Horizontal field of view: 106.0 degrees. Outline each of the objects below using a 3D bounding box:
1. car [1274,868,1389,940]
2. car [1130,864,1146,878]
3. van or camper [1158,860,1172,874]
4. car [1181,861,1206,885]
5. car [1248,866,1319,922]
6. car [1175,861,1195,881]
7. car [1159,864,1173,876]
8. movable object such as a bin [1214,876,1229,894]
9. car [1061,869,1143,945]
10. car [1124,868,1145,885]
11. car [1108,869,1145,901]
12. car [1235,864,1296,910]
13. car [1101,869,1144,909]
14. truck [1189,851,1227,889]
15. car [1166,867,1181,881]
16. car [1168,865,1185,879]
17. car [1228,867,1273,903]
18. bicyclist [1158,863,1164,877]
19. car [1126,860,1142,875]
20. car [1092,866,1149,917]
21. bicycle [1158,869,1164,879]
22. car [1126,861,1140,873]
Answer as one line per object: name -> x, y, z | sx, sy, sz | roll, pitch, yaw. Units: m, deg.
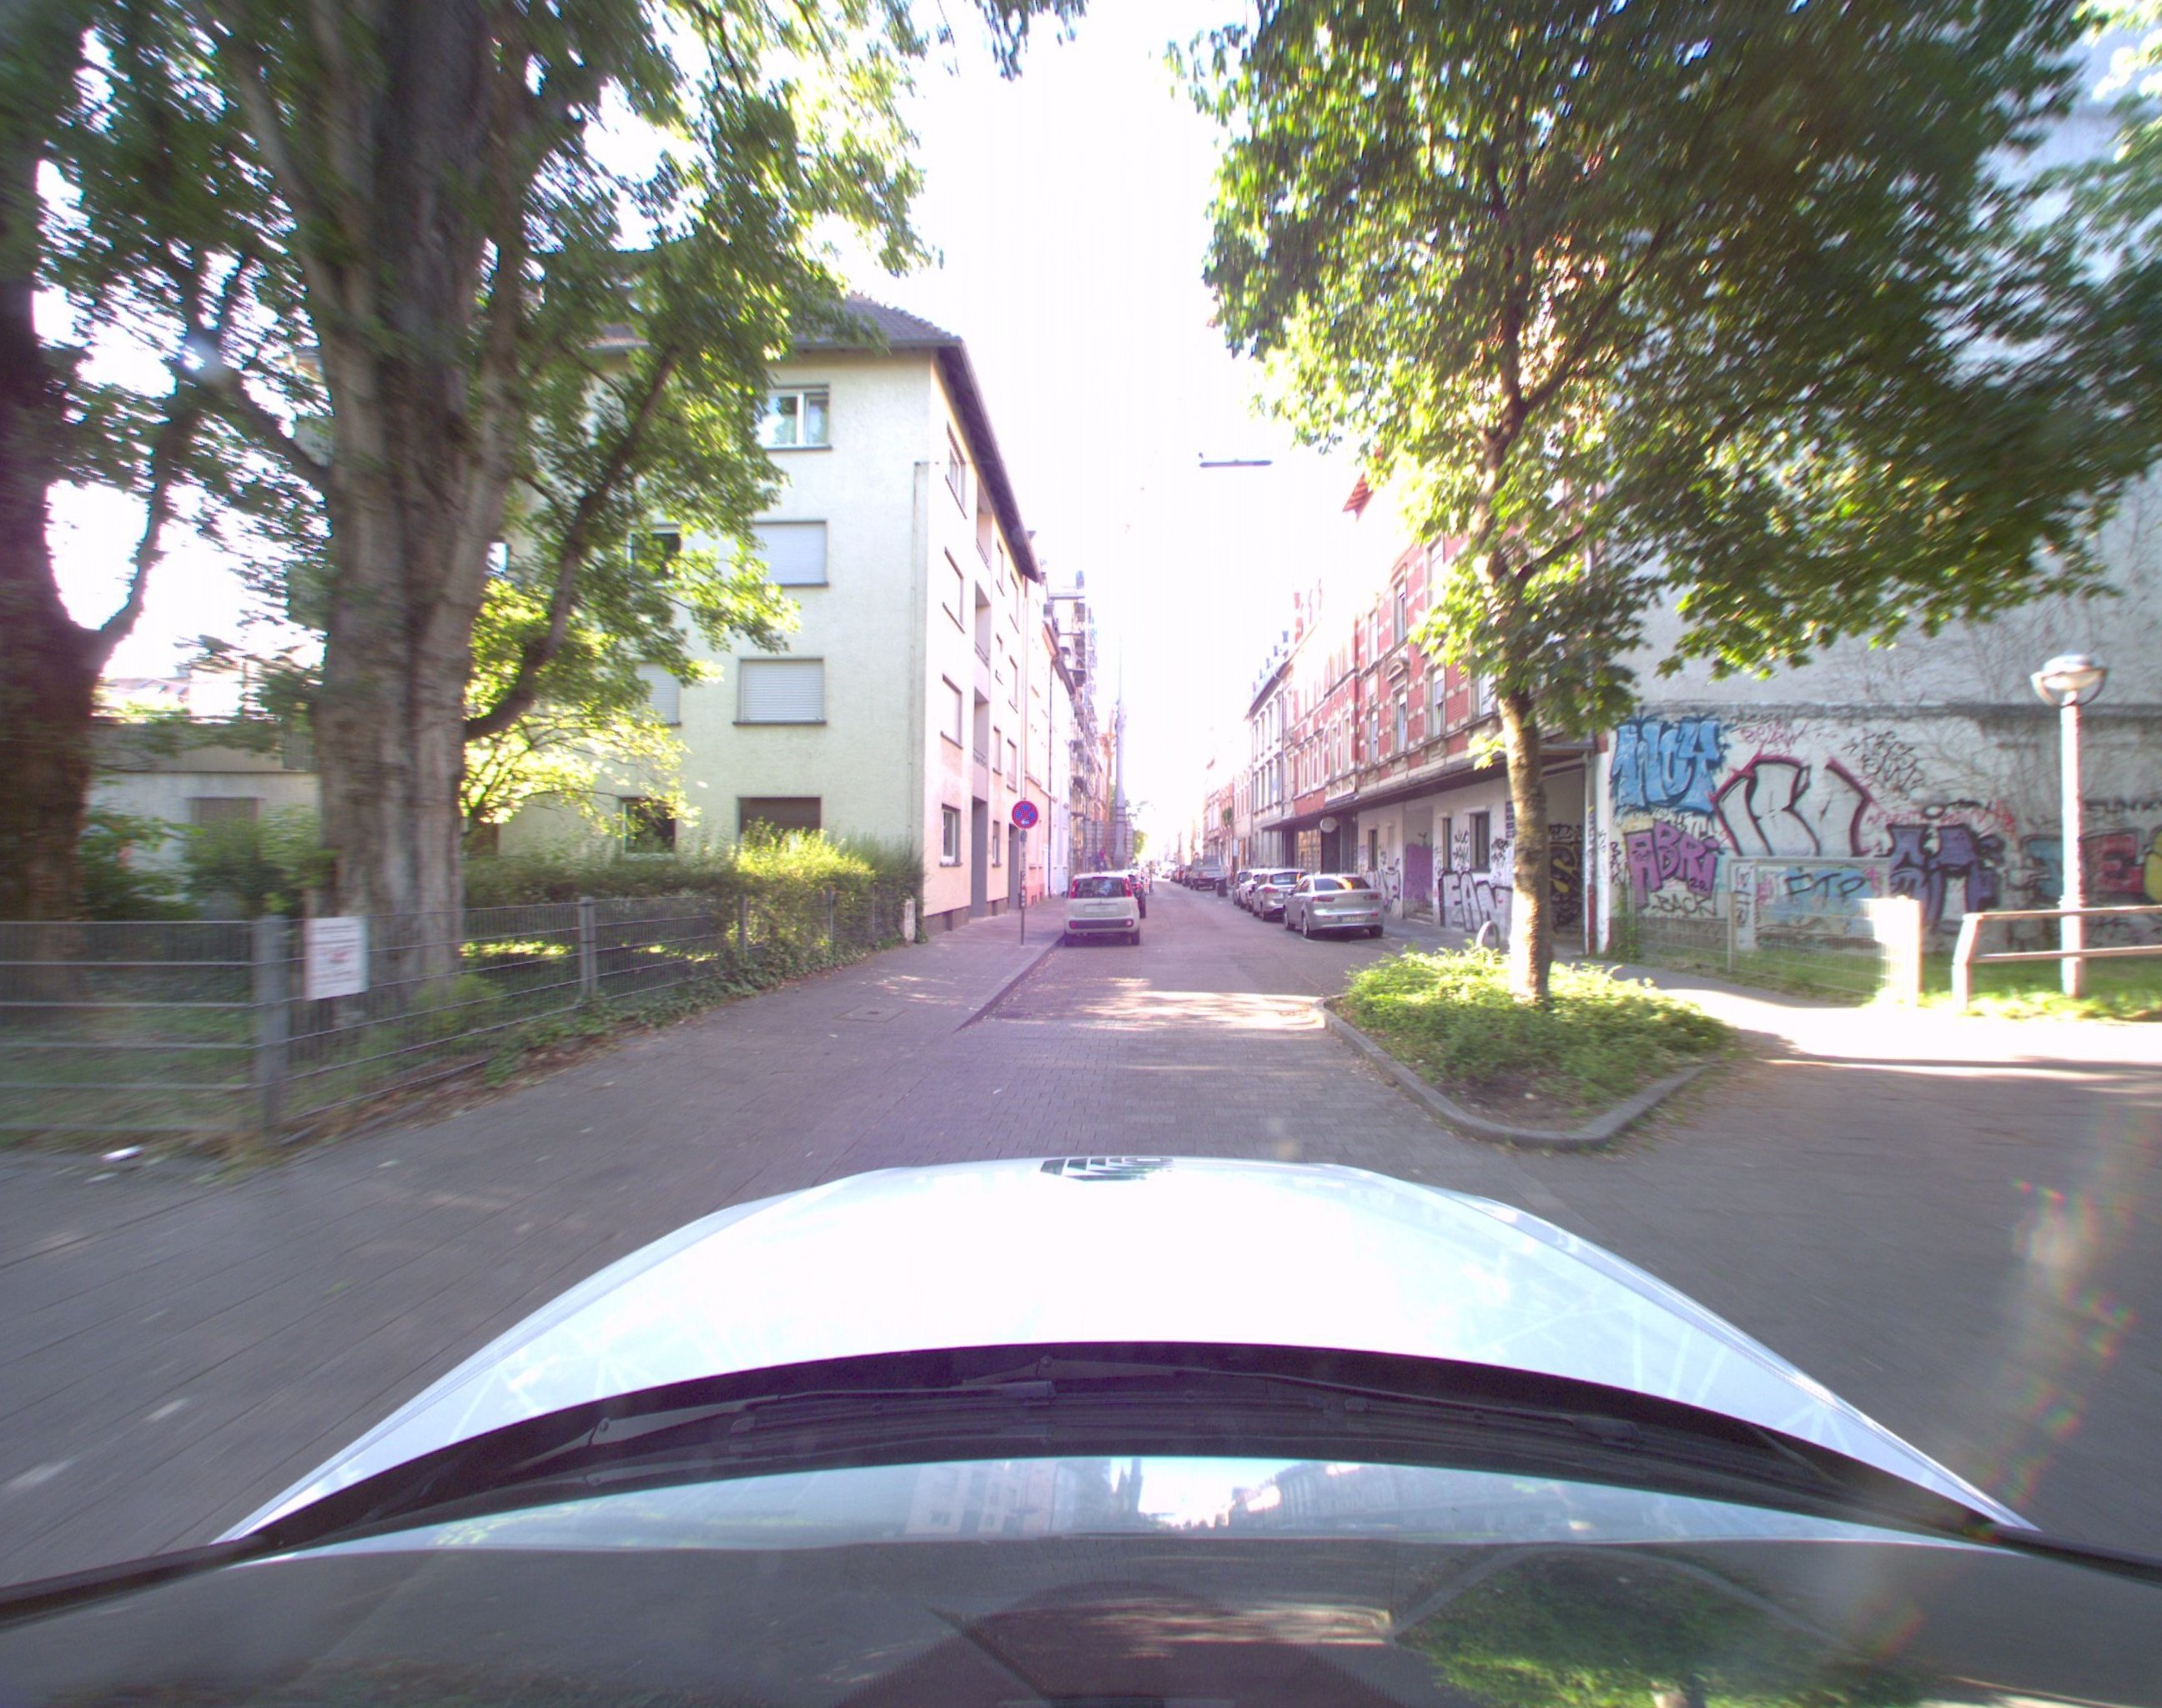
car -> 6.020, 1.138, 20.077 | 1.714, 1.562, 4.401 | 0, -1, 3
car -> 6.684, 2.025, 95.643 | 1.668, 1.571, 3.870 | 0, -1, 2
van or camper -> 15.295, 2.442, 148.468 | 1.987, 2.508, 4.201 | -1, -1, 0
car -> 9.575, 1.639, 69.557 | 1.668, 1.963, 4.110 | 0, -1, 2
car -> 6.440, 1.226, 26.220 | 1.632, 1.656, 3.874 | 0, -1, 5
car -> 10.460, 1.710, 82.033 | 1.668, 2.031, 3.870 | 0, -1, 2
car -> 13.969, 2.606, 133.840 | 1.985, 1.849, 4.003 | -1, -1, 3
movable object such as a bin -> 8.065, 1.774, 46.815 | 0.791, 1.056, 0.661 | 0, -1, 4
car -> 0.499, 1.121, 18.633 | 1.668, 1.540, 3.870 | -1, -1, 2
car -> 4.679, 1.934, 71.511 | 1.668, 1.445, 3.870 | 0, -1, 2
car -> 2.223, 1.445, 39.075 | 1.667, 1.477, 4.612 | 0, -1, 4
car -> 7.140, 1.259, 31.883 | 1.738, 1.676, 4.346 | 0, -1, 5
car -> 1.740, 1.373, 33.360 | 1.667, 1.512, 4.419 | 0, -1, 4
truck -> 9.154, 1.149, 59.058 | 2.181, 2.607, 5.238 | -1, -1, 3
car -> 13.549, 2.879, 119.859 | 1.985, 2.014, 4.003 | 0, -1, 3
car -> 11.189, 2.140, 95.209 | 1.668, 1.571, 3.870 | 0, -1, 2
car -> 7.660, 1.385, 37.051 | 1.589, 1.560, 3.819 | 0, -1, 6
bicyclist -> 10.340, 2.088, 105.727 | 0.727, 1.761, 0.836 | 1, 0, 4
car -> 5.837, 1.498, 90.498 | 1.668, 1.571, 3.870 | 0, -1, 2
car -> 1.310, 1.217, 27.575 | 1.722, 1.540, 4.379 | -1, -1, 2
bicycle -> 10.324, 2.579, 105.678 | 0.721, 1.186, 2.045 | 1, 0, 4
car -> 7.938, 1.967, 124.807 | 1.985, 1.849, 4.003 | -1, -1, 3
